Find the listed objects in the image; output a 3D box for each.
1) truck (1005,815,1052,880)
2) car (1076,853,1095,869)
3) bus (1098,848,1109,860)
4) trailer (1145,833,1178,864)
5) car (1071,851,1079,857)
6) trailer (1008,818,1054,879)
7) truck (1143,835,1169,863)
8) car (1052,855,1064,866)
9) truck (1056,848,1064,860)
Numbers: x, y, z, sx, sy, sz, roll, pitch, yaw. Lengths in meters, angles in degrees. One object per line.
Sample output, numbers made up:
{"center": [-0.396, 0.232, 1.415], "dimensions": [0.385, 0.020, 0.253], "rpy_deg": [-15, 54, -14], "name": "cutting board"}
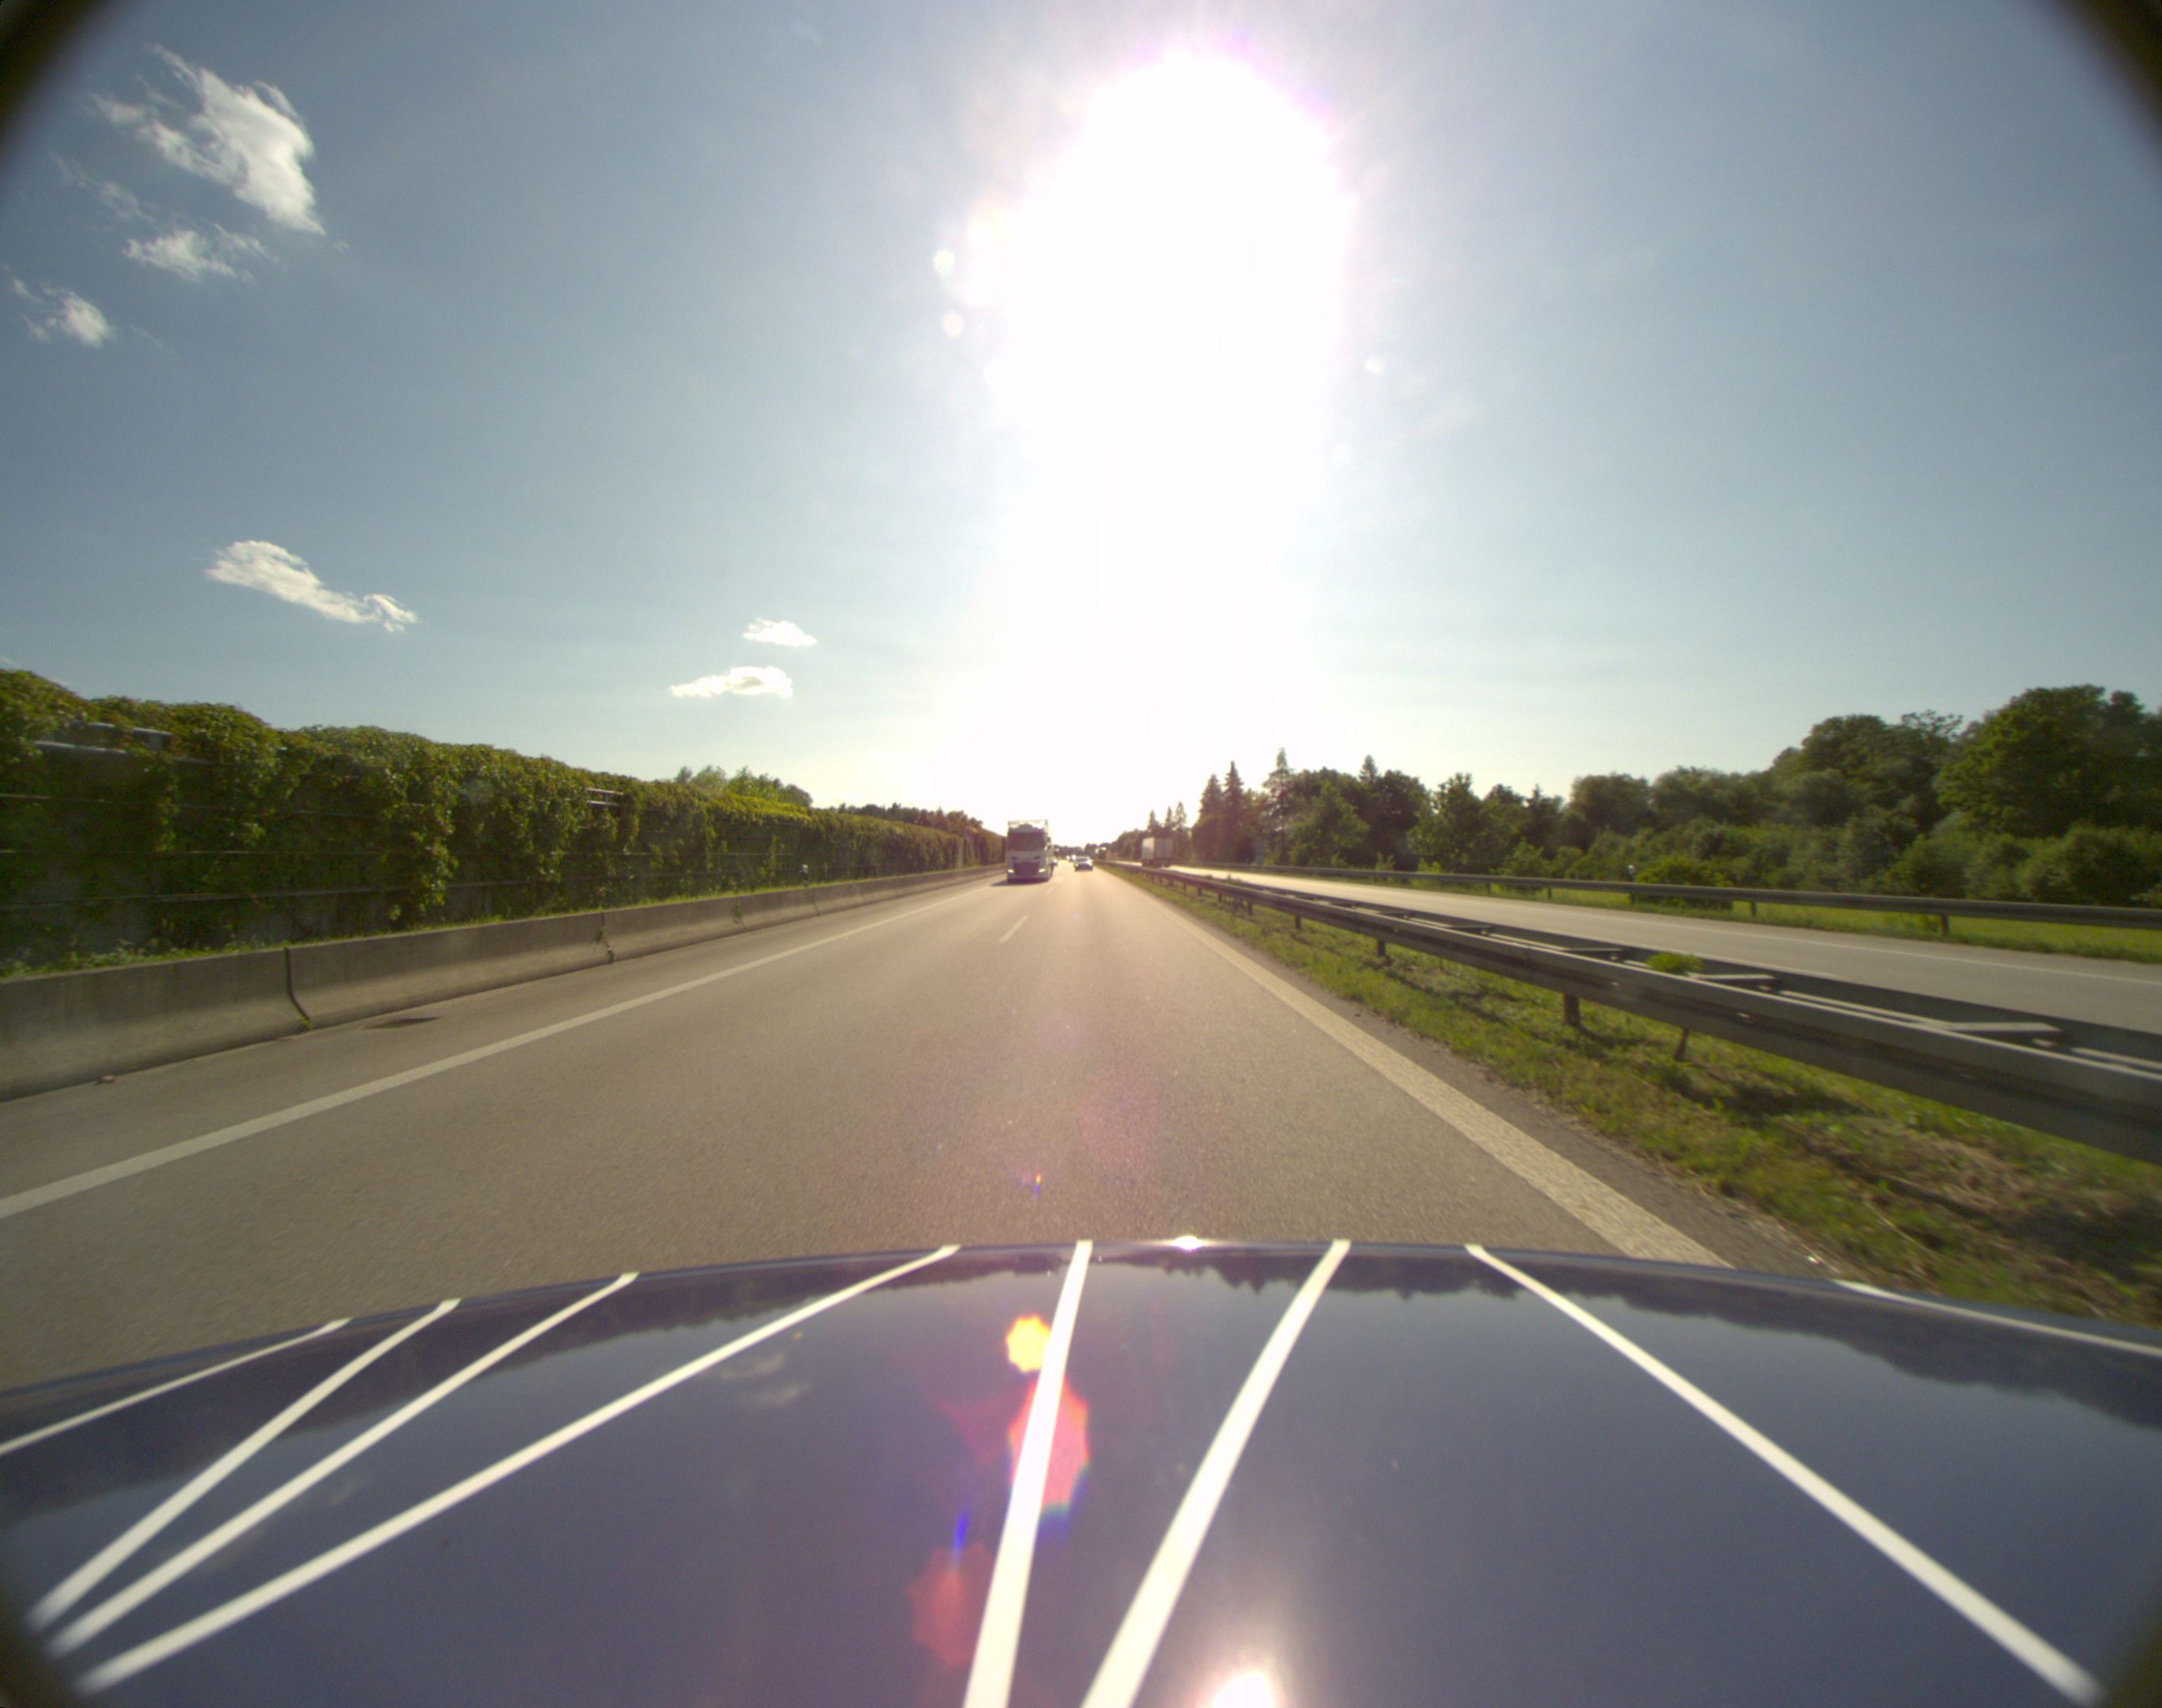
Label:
{"center": [-3.331, -0.385, 49.886], "dimensions": [2.848, 3.943, 7.042], "rpy_deg": [0, 0, -2], "name": "truck"}
{"center": [0.427, 0.691, 77.833], "dimensions": [1.871, 1.514, 4.283], "rpy_deg": [1, 0, -1], "name": "car"}
{"center": [7.337, -0.071, 253.156], "dimensions": [2.944, 4.030, 14.665], "rpy_deg": [0, 0, -1], "name": "bus"}
{"center": [11.205, -0.773, 106.805], "dimensions": [3.159, 4.100, 13.440], "rpy_deg": [1, 0, 0], "name": "trailer"}
{"center": [-1.522, 0.025, 183.150], "dimensions": [1.742, 1.514, 3.999], "rpy_deg": [-1, 1, -2], "name": "car"}
{"center": [-3.475, -0.360, 56.482], "dimensions": [2.826, 3.943, 14.157], "rpy_deg": [0, 0, -1], "name": "trailer"}
{"center": [11.159, -0.712, 113.645], "dimensions": [3.164, 4.077, 7.734], "rpy_deg": [1, 0, 0], "name": "truck"}
{"center": [-3.685, 1.050, 119.189], "dimensions": [1.689, 1.487, 4.986], "rpy_deg": [5, -1, -2], "name": "car"}
{"center": [-7.151, 0.034, 261.490], "dimensions": [2.537, 4.227, 11.264], "rpy_deg": [0, 0, -1], "name": "truck"}
